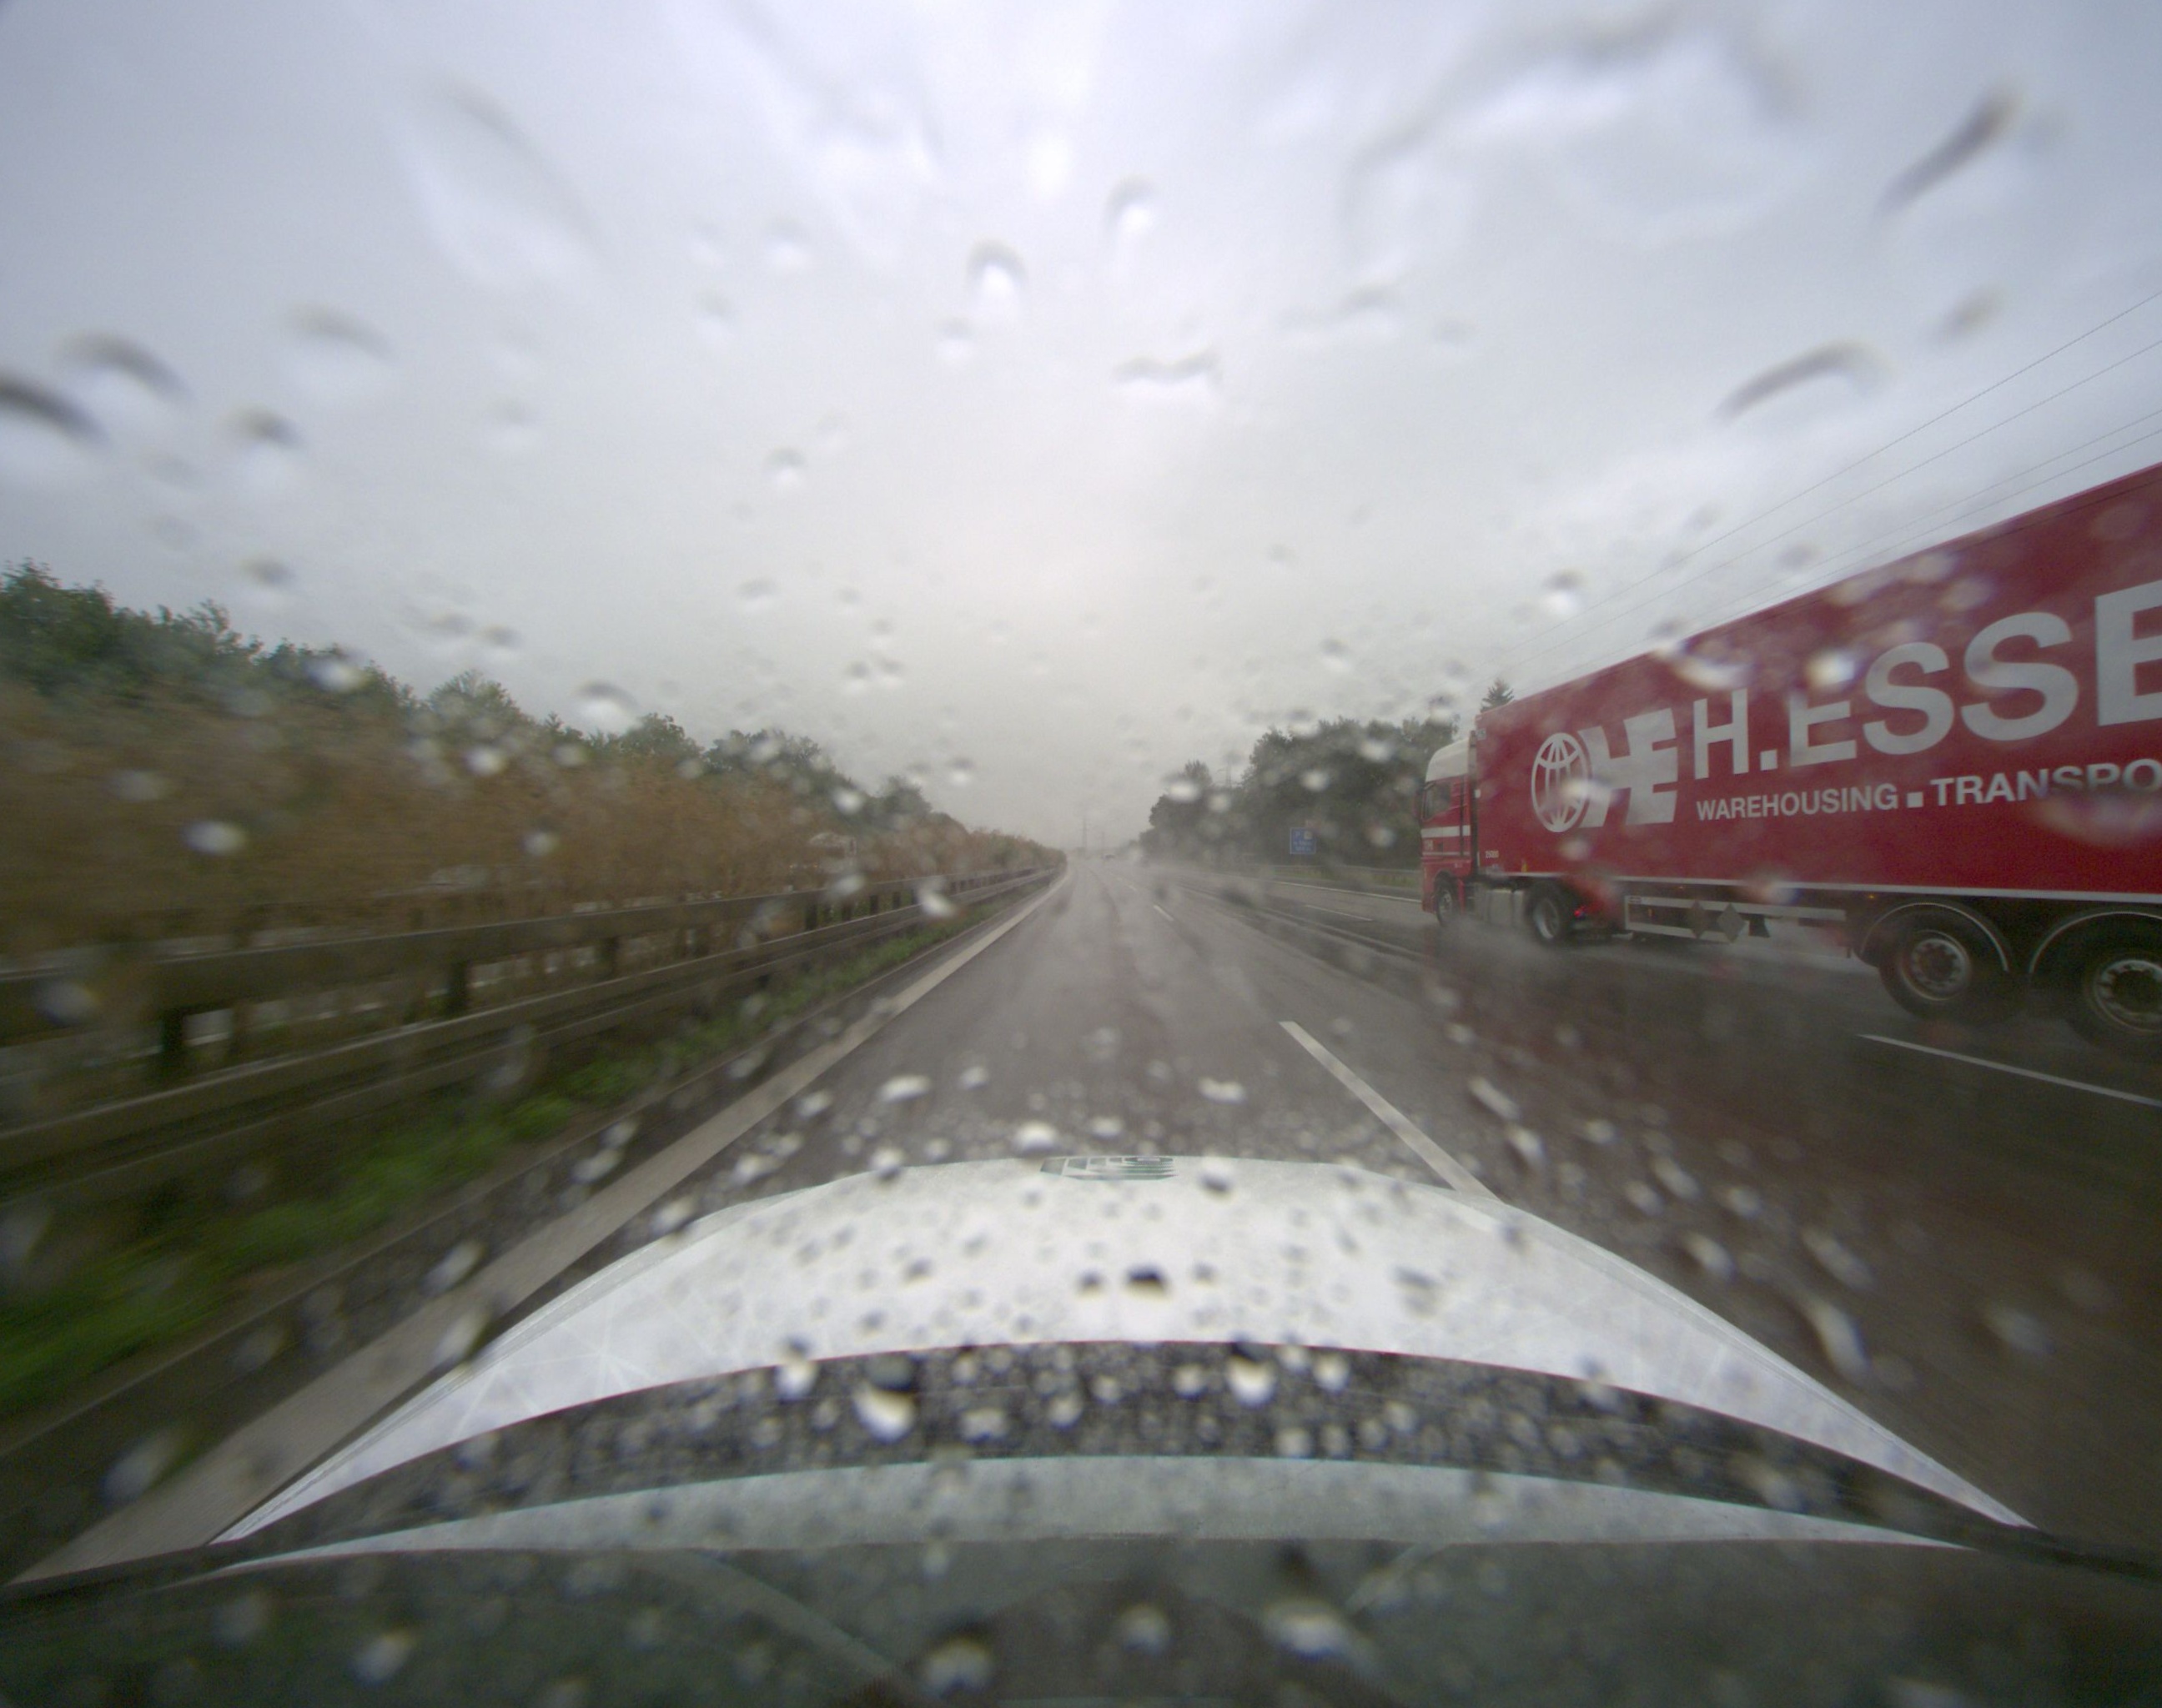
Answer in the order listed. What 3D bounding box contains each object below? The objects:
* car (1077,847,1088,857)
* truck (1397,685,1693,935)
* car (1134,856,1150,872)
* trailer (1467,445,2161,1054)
[{"bbox_3d":[0.357,-0.621,262.652,3.193,3.192,7.247,0,0,-4],"label":"car"},{"bbox_3d":[8.470,-0.695,15.719,2.611,3.955,5.433,-1,0,0],"label":"truck"},{"bbox_3d":[8.221,1.302,109.651,1.801,2.158,4.000,0,0,0],"label":"car"},{"bbox_3d":[8.377,-0.680,8.216,2.611,3.955,13.631,-1,0,1],"label":"trailer"}]
